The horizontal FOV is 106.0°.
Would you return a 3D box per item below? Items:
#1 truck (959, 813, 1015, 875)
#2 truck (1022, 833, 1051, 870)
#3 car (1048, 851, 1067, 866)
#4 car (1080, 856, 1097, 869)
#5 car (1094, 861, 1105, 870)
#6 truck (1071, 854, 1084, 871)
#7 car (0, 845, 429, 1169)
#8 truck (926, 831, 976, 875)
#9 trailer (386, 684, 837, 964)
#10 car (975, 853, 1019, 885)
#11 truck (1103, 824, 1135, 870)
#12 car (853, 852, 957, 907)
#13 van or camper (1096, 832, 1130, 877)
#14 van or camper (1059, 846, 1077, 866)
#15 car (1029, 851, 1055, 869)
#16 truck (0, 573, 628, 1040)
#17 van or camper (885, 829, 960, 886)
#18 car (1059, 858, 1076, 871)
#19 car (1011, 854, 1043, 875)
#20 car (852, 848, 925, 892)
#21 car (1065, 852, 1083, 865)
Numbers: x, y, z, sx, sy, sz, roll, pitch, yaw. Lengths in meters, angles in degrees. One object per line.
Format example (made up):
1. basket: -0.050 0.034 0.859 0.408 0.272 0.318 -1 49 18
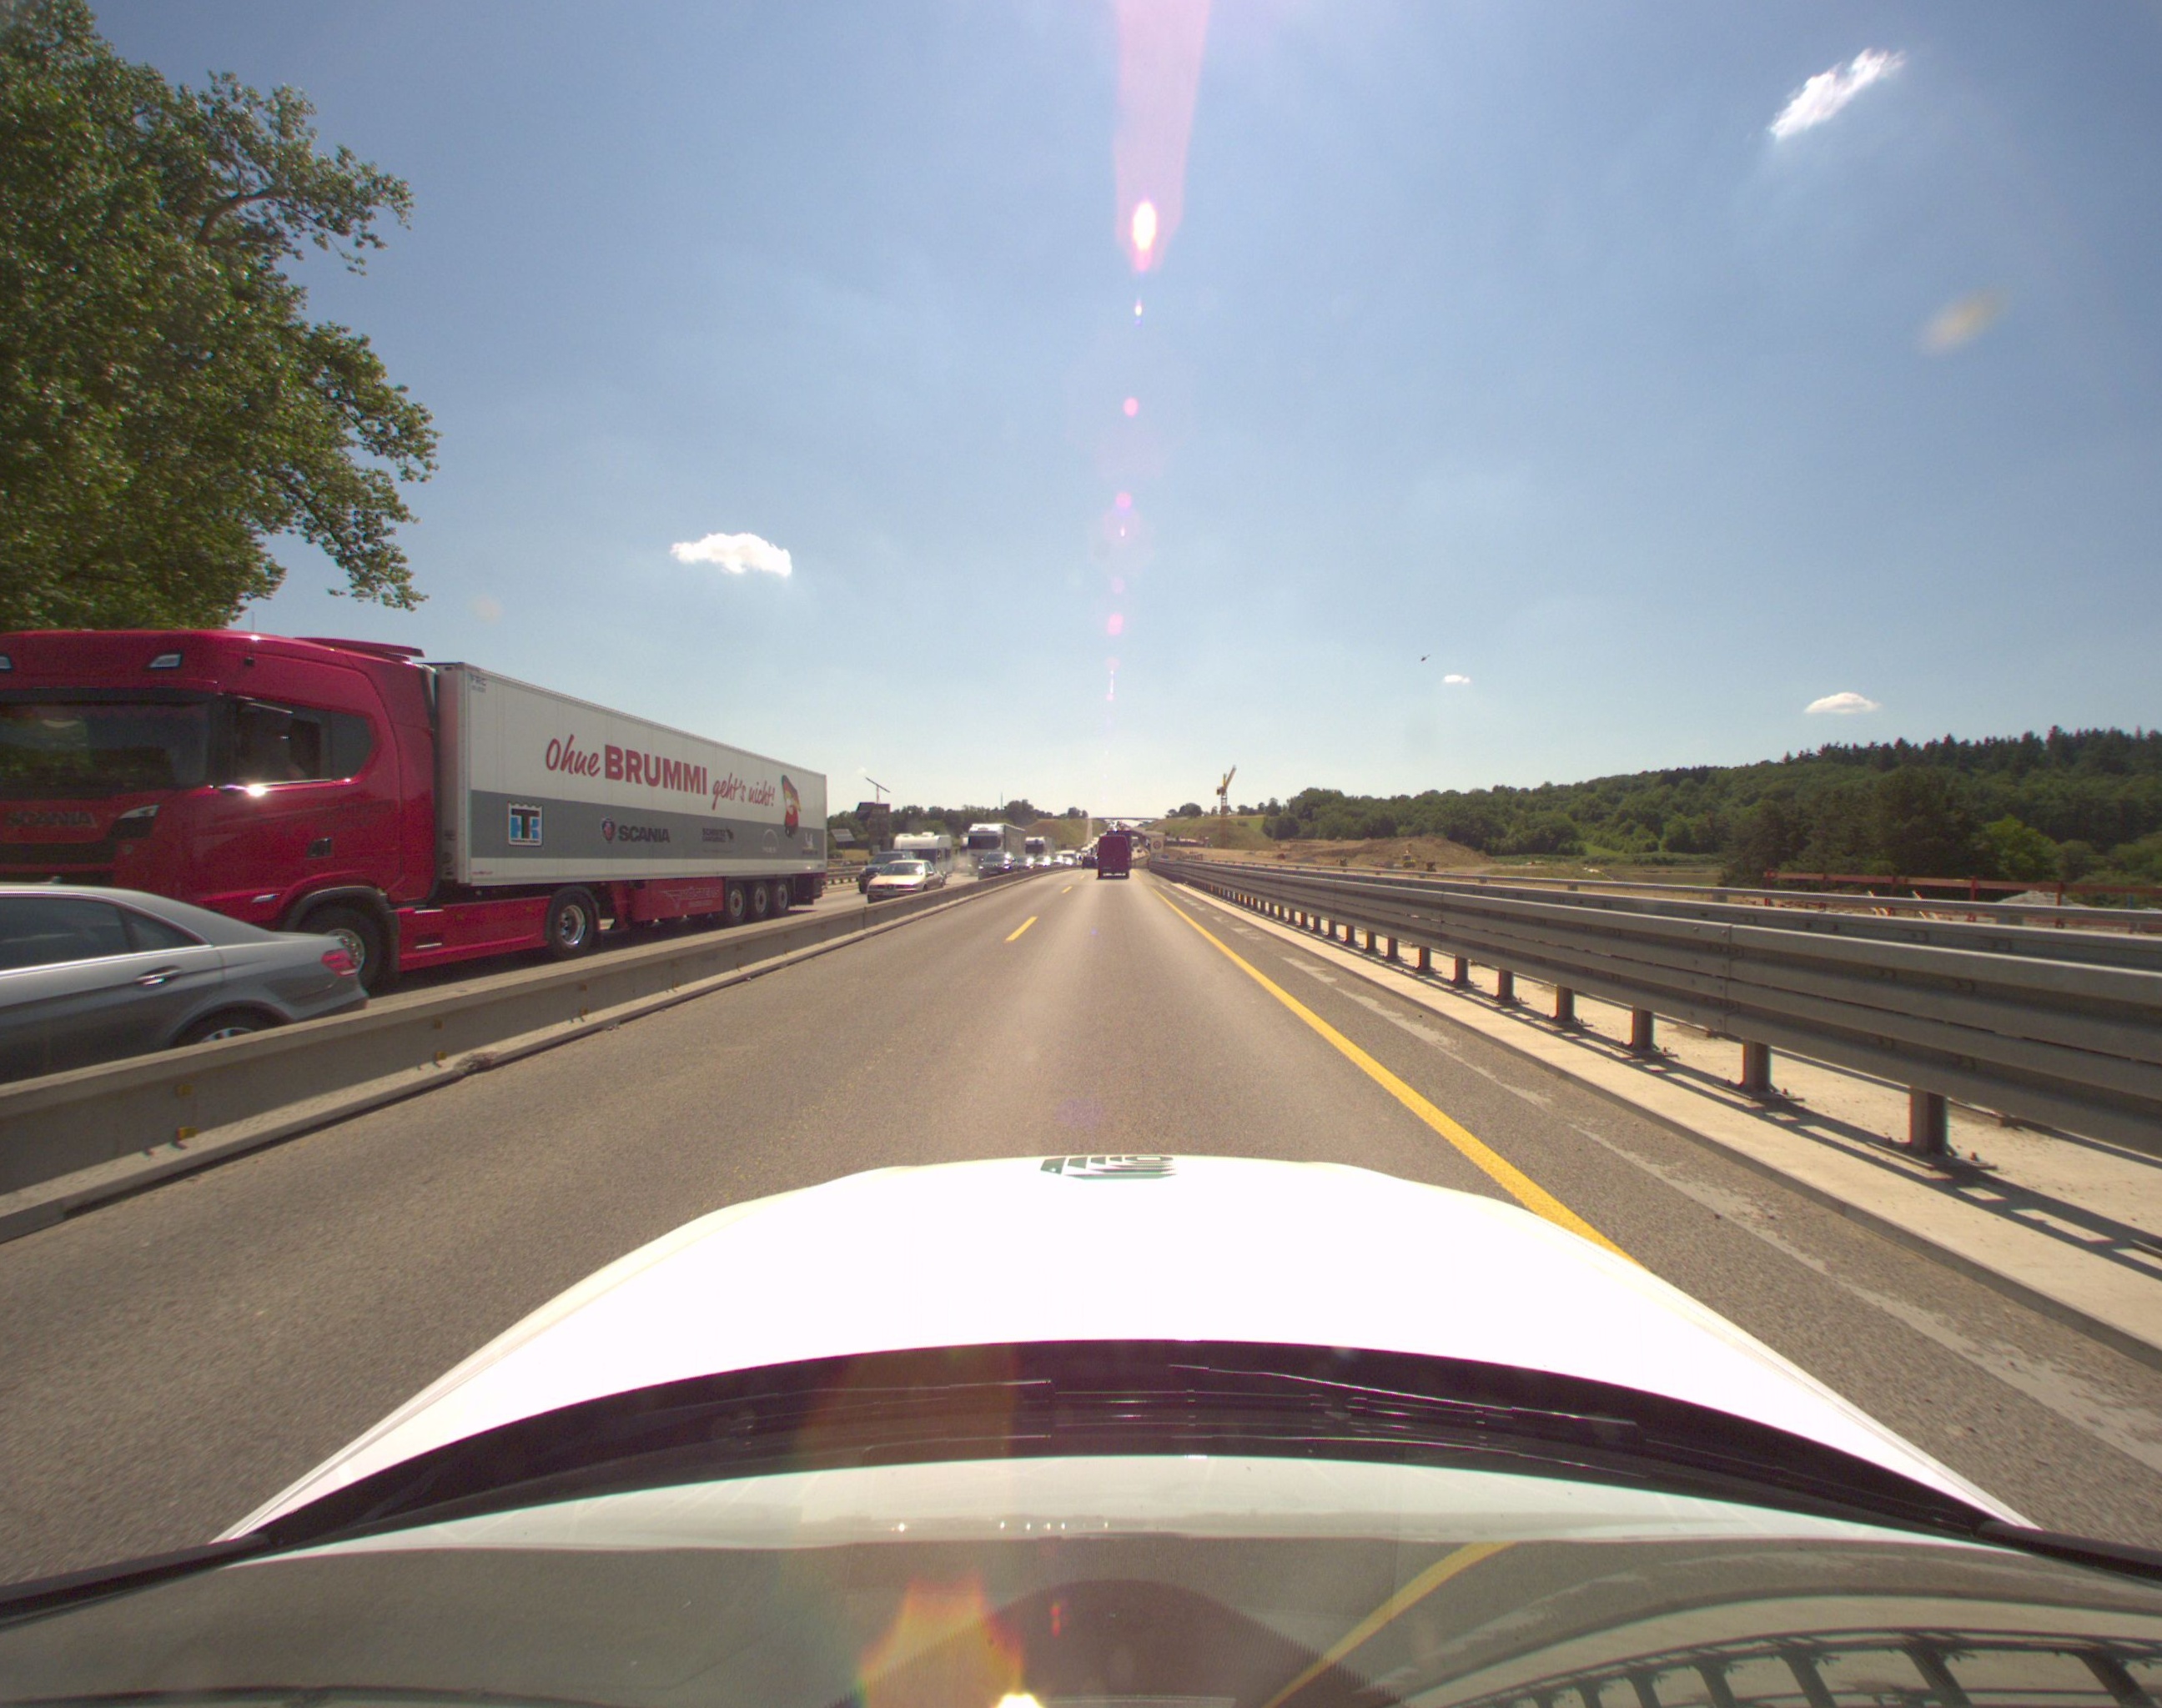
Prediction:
1. truck: -7.209 -0.746 63.429 3.065 4.537 7.108 -1 0 3
2. truck: -5.326 -0.302 98.757 2.795 4.392 6.229 -1 0 3
3. car: -2.577 0.459 89.564 1.750 1.646 4.157 1 0 2
4. car: 0.914 1.051 98.563 2.005 1.545 4.133 0 0 1
5. car: 3.280 2.055 145.114 2.004 1.545 4.134 1 0 1
6. truck: -0.959 2.216 208.045 2.971 4.185 5.866 0 -1 -4
7. car: -5.926 0.752 3.643 1.883 1.487 4.922 -3 0 2
8. truck: -11.810 -0.134 74.628 2.893 3.765 8.373 0 0 2
9. trailer: -8.816 -0.506 18.106 2.796 4.176 11.804 0 0 2
10. car: -4.627 0.800 45.370 1.840 1.688 4.620 1 0 2
11. truck: 4.009 -0.730 87.500 3.010 4.693 6.932 -2 0 0
12. car: -5.475 0.744 25.908 1.891 1.461 4.202 -3 0 7
13. van or camper: 1.962 0.030 51.228 2.022 2.744 4.515 0 0 0
14. van or camper: -1.645 0.258 107.355 2.212 2.511 6.531 2 0 -1
15. car: -3.439 0.508 73.020 1.858 1.459 4.610 1 0 3
16. truck: -9.075 -0.430 10.336 2.805 4.037 6.525 0 0 2
17. van or camper: -7.980 0.182 41.532 2.493 2.698 5.248 -1 0 3
18. car: -1.641 1.250 97.993 1.988 1.498 4.971 1 0 -2
19. car: -3.918 0.756 59.901 1.770 1.420 4.541 1 0 3
20. car: -8.130 0.652 34.864 1.760 1.734 4.794 -1 0 2
21. car: -1.013 0.662 119.276 2.362 1.726 5.785 1 0 3
